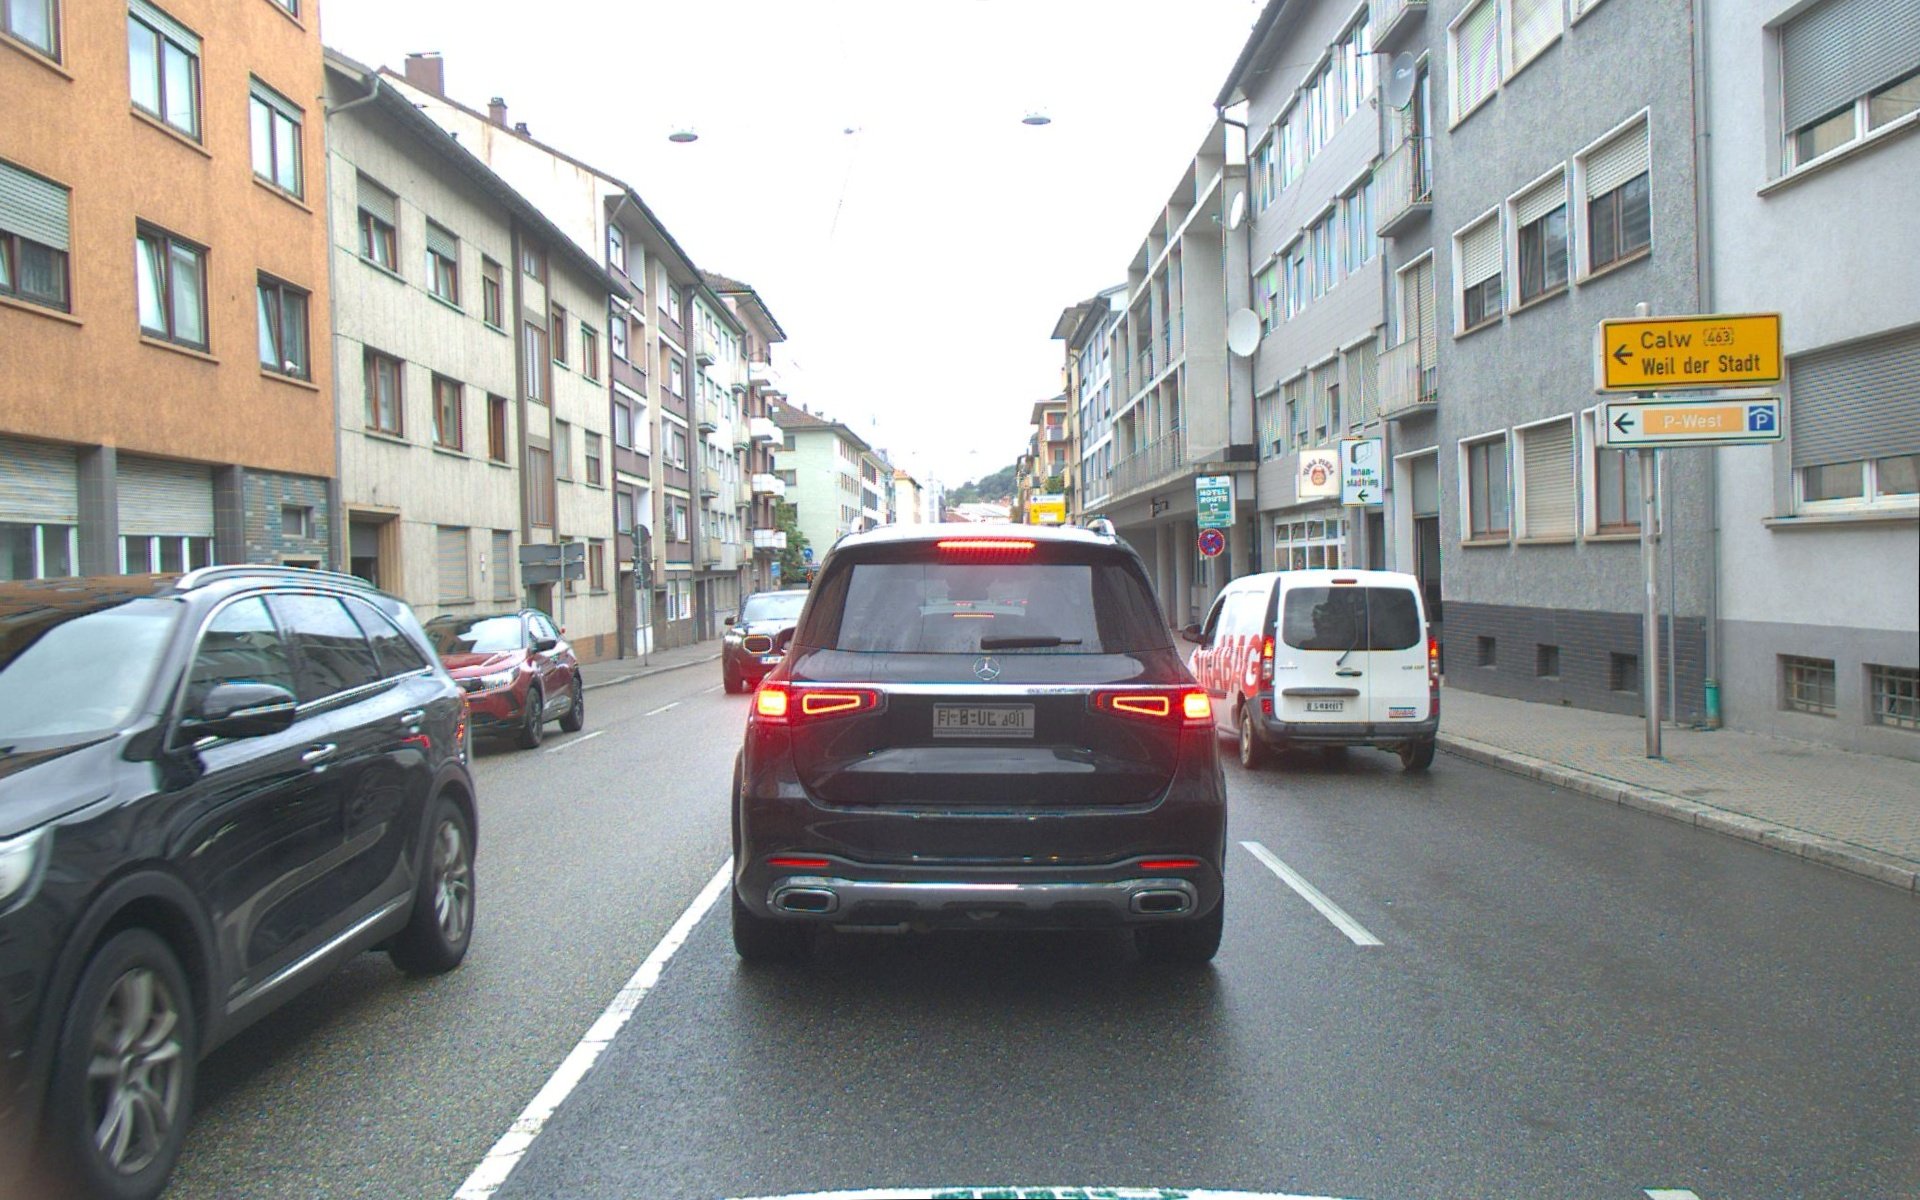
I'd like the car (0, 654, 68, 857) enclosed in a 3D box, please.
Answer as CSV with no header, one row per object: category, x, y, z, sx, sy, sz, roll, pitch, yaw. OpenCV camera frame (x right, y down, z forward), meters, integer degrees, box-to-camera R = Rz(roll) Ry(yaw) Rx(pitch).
car,-7.961,1.160,10.905,1.759,1.463,4.525,1,0,-1

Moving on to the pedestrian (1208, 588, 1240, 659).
pedestrian,5.845,0.508,36.605,0.496,1.526,0.562,-4,0,-2

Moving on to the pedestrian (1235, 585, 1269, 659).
pedestrian,6.463,0.481,36.655,0.549,1.606,0.526,-4,0,-1

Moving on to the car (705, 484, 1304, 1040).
car,0.109,0.543,7.556,1.984,1.837,3.999,1,0,-1

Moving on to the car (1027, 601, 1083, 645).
car,3.323,0.790,58.396,1.588,1.455,4.311,1,0,-1

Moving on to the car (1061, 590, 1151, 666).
car,3.300,0.601,38.062,1.770,1.634,4.212,0,0,1

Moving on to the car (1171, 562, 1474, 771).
car,3.444,0.576,16.691,1.901,1.806,4.745,0,0,-2

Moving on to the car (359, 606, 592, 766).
car,-5.744,0.943,20.141,1.762,1.612,4.312,-3,0,-4

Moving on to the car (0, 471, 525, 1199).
car,-2.910,0.662,5.369,1.799,1.757,4.473,-4,0,-1

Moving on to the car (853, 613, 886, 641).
car,-5.080,1.507,92.899,1.732,1.369,3.886,-5,0,-3

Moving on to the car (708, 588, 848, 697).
car,-3.289,0.727,30.805,2.083,1.750,4.816,-3,0,-1
